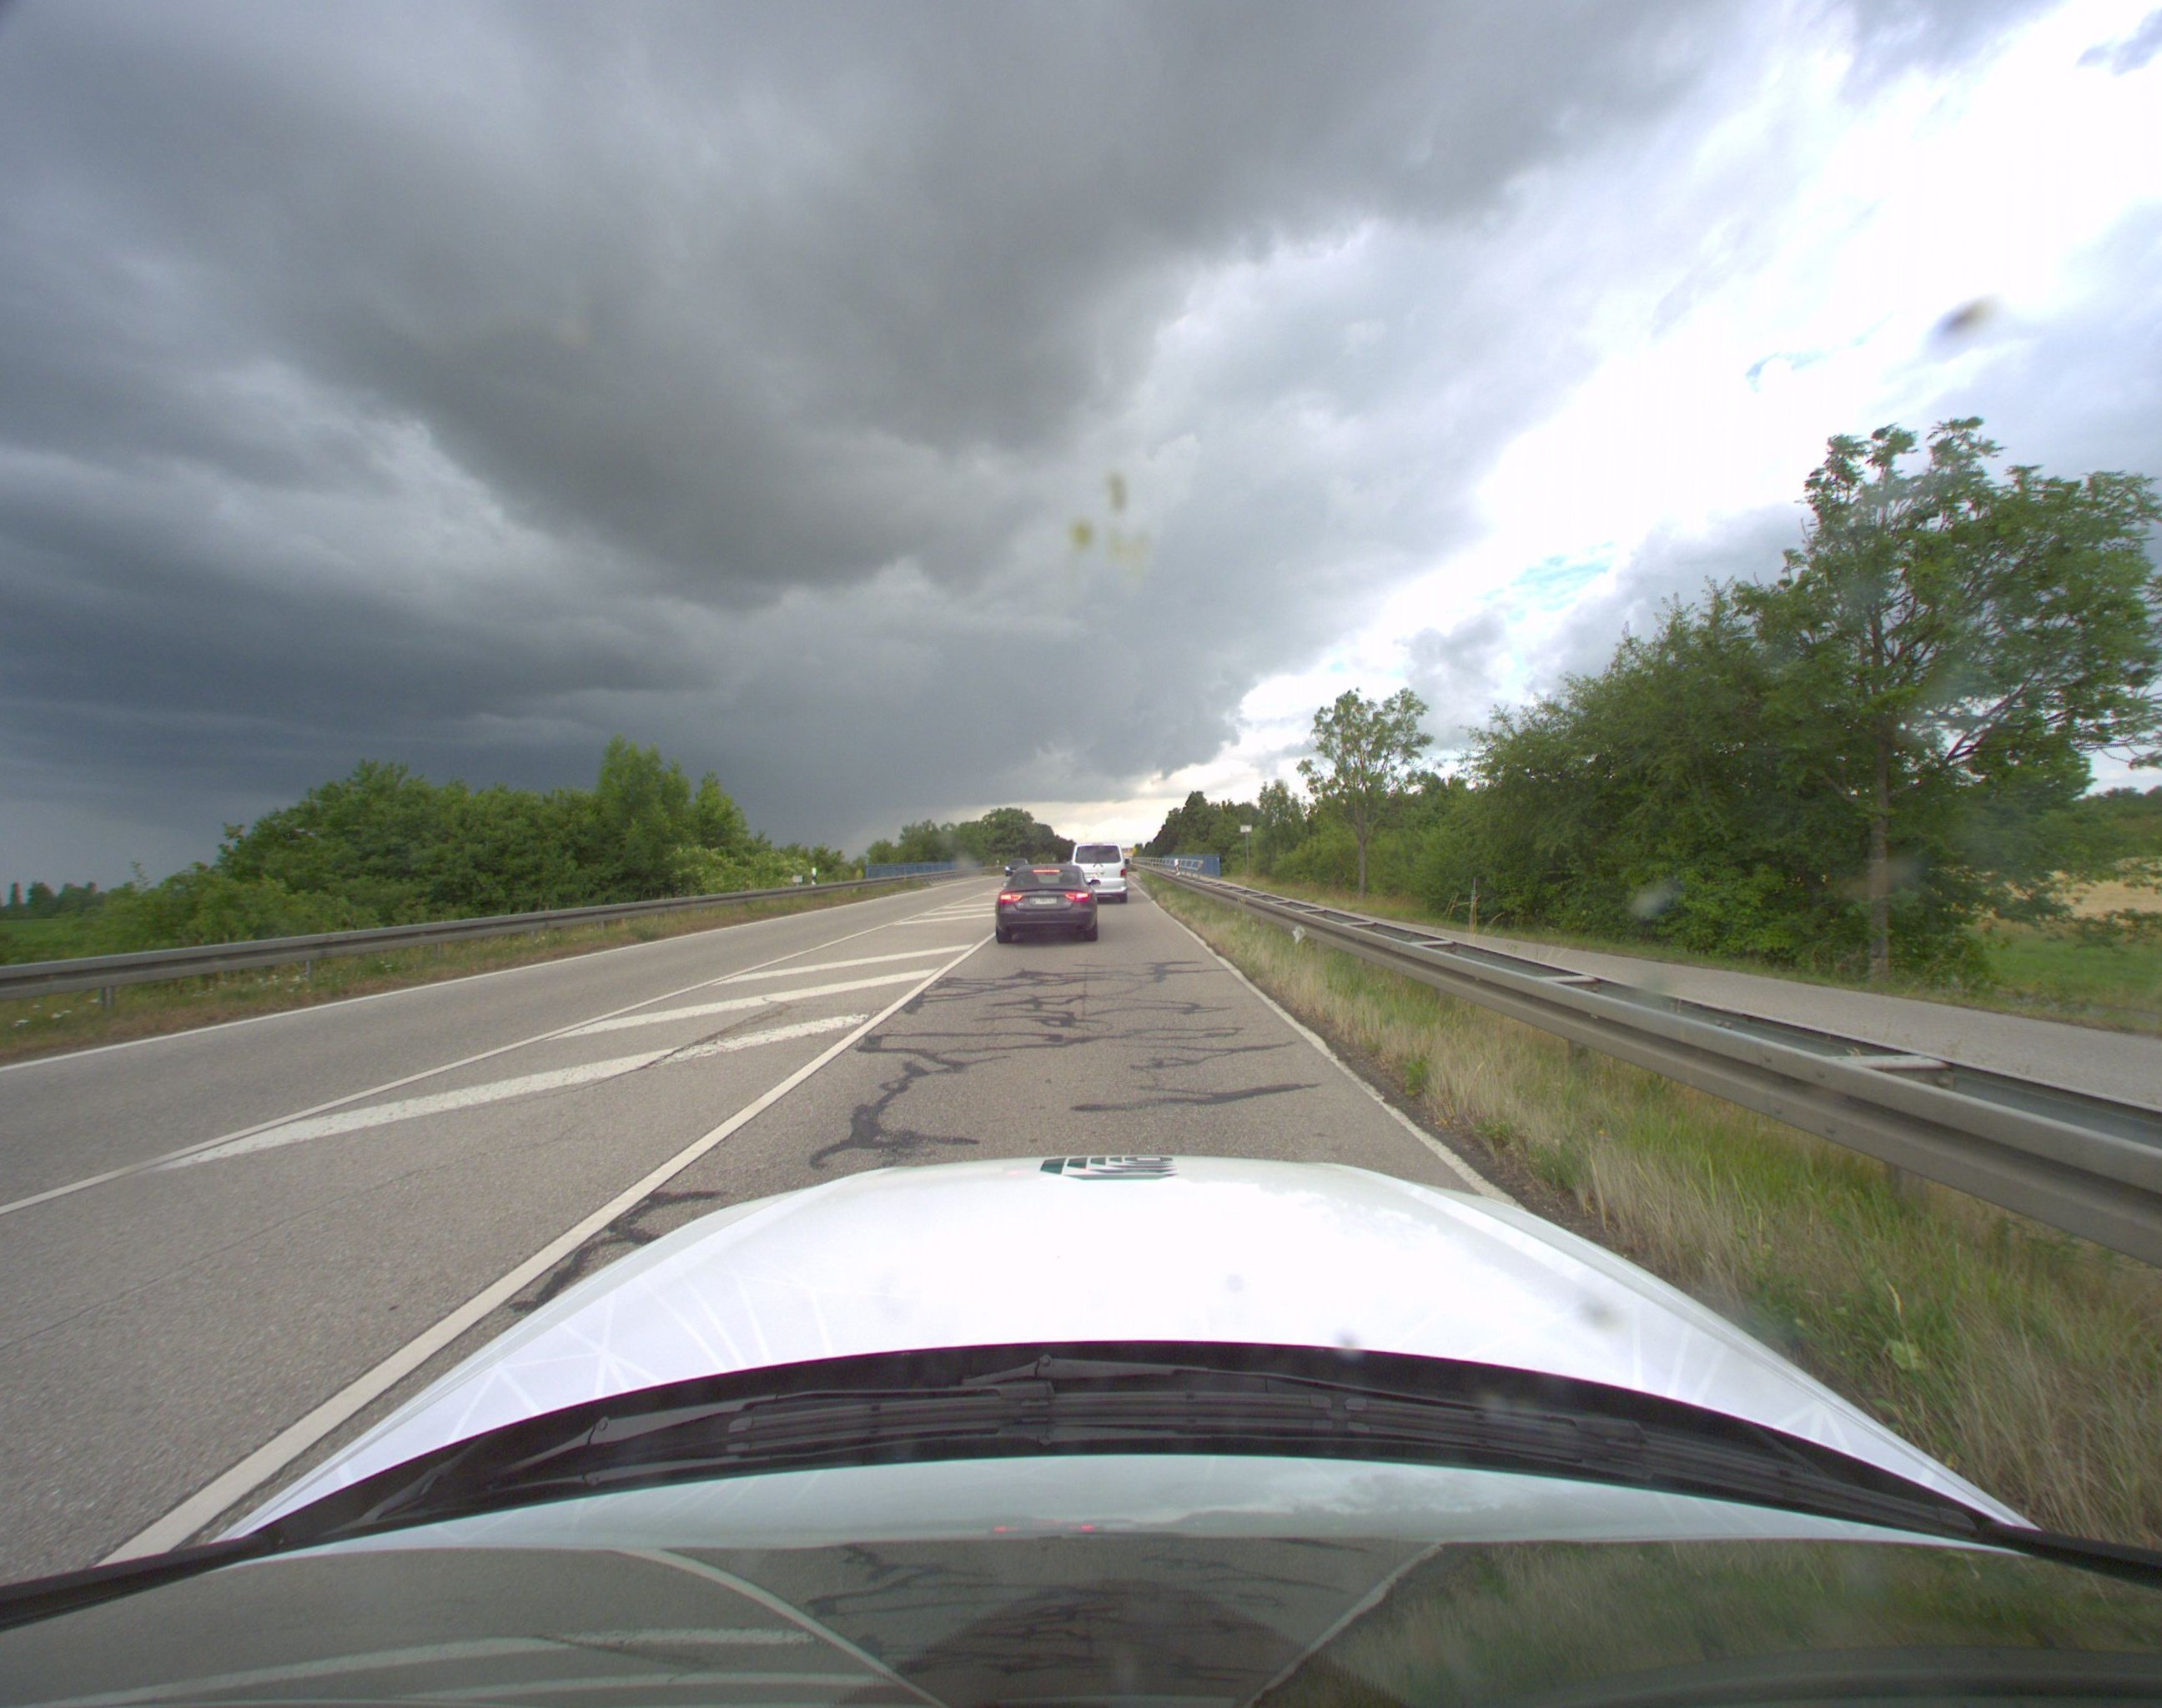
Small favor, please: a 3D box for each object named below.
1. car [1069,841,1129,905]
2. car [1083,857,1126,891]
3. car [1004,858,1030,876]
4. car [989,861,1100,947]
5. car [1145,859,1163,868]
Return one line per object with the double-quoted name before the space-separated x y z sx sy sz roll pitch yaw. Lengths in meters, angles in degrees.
"car" 0.631 0.600 27.481 1.822 1.935 4.001 -2 -1 1
"car" 1.097 0.868 36.525 1.814 1.381 4.074 -2 0 3
"car" -5.367 1.076 68.837 1.793 1.450 4.446 -2 0 0
"car" -0.570 0.858 15.735 1.815 1.381 4.073 -2 0 1
"car" 18.058 2.339 201.484 3.949 2.014 2.012 -1 -1 28
